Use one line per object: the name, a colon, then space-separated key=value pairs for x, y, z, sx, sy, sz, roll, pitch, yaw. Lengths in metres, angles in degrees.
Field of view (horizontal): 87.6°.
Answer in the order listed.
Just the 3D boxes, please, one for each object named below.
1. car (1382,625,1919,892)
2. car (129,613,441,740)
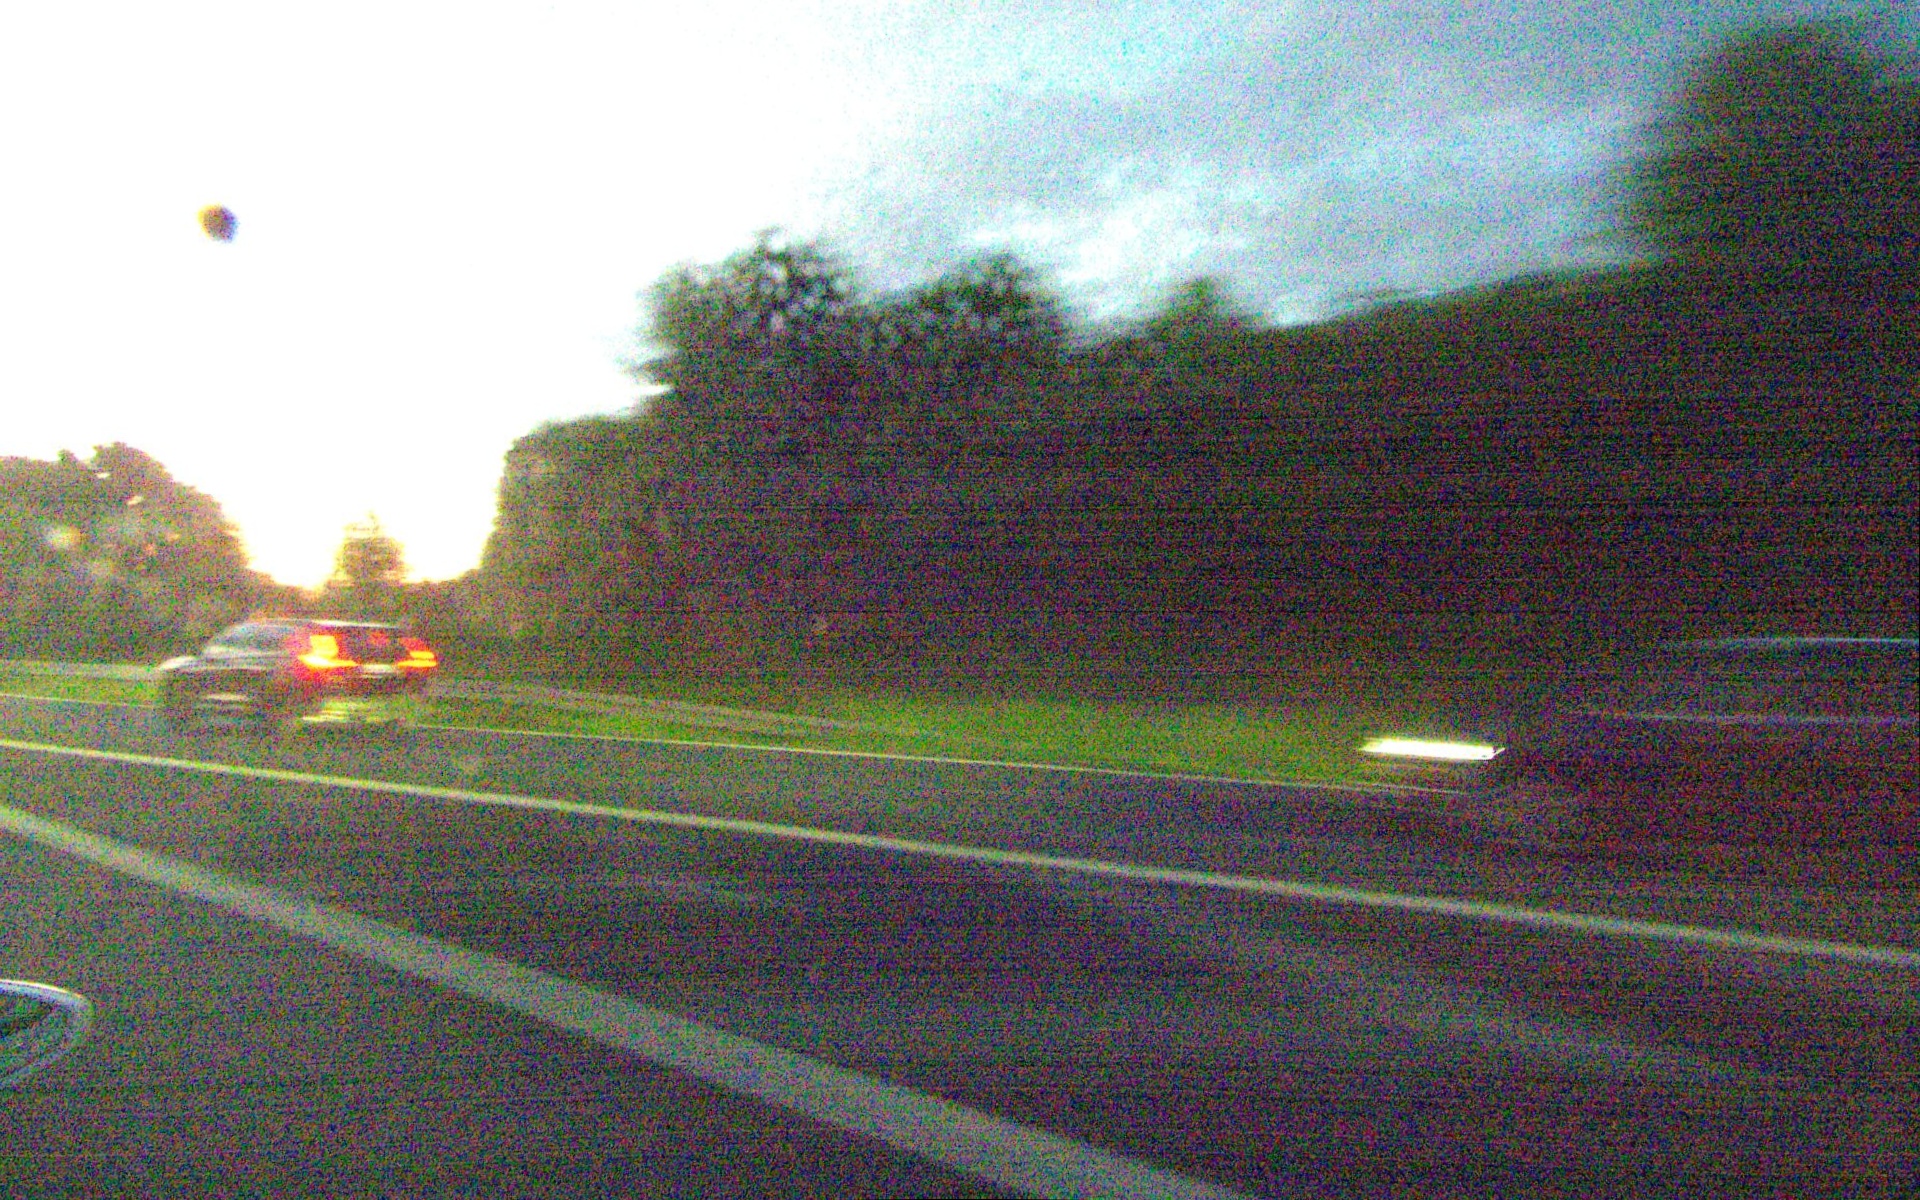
car: x=5.576 y=0.967 z=6.621 sx=5.037 sy=1.509 sz=1.799 roll=-1 pitch=-4 yaw=27
car: x=-10.321 y=1.106 z=15.215 sx=5.082 sy=1.665 sz=1.798 roll=-1 pitch=-4 yaw=29
